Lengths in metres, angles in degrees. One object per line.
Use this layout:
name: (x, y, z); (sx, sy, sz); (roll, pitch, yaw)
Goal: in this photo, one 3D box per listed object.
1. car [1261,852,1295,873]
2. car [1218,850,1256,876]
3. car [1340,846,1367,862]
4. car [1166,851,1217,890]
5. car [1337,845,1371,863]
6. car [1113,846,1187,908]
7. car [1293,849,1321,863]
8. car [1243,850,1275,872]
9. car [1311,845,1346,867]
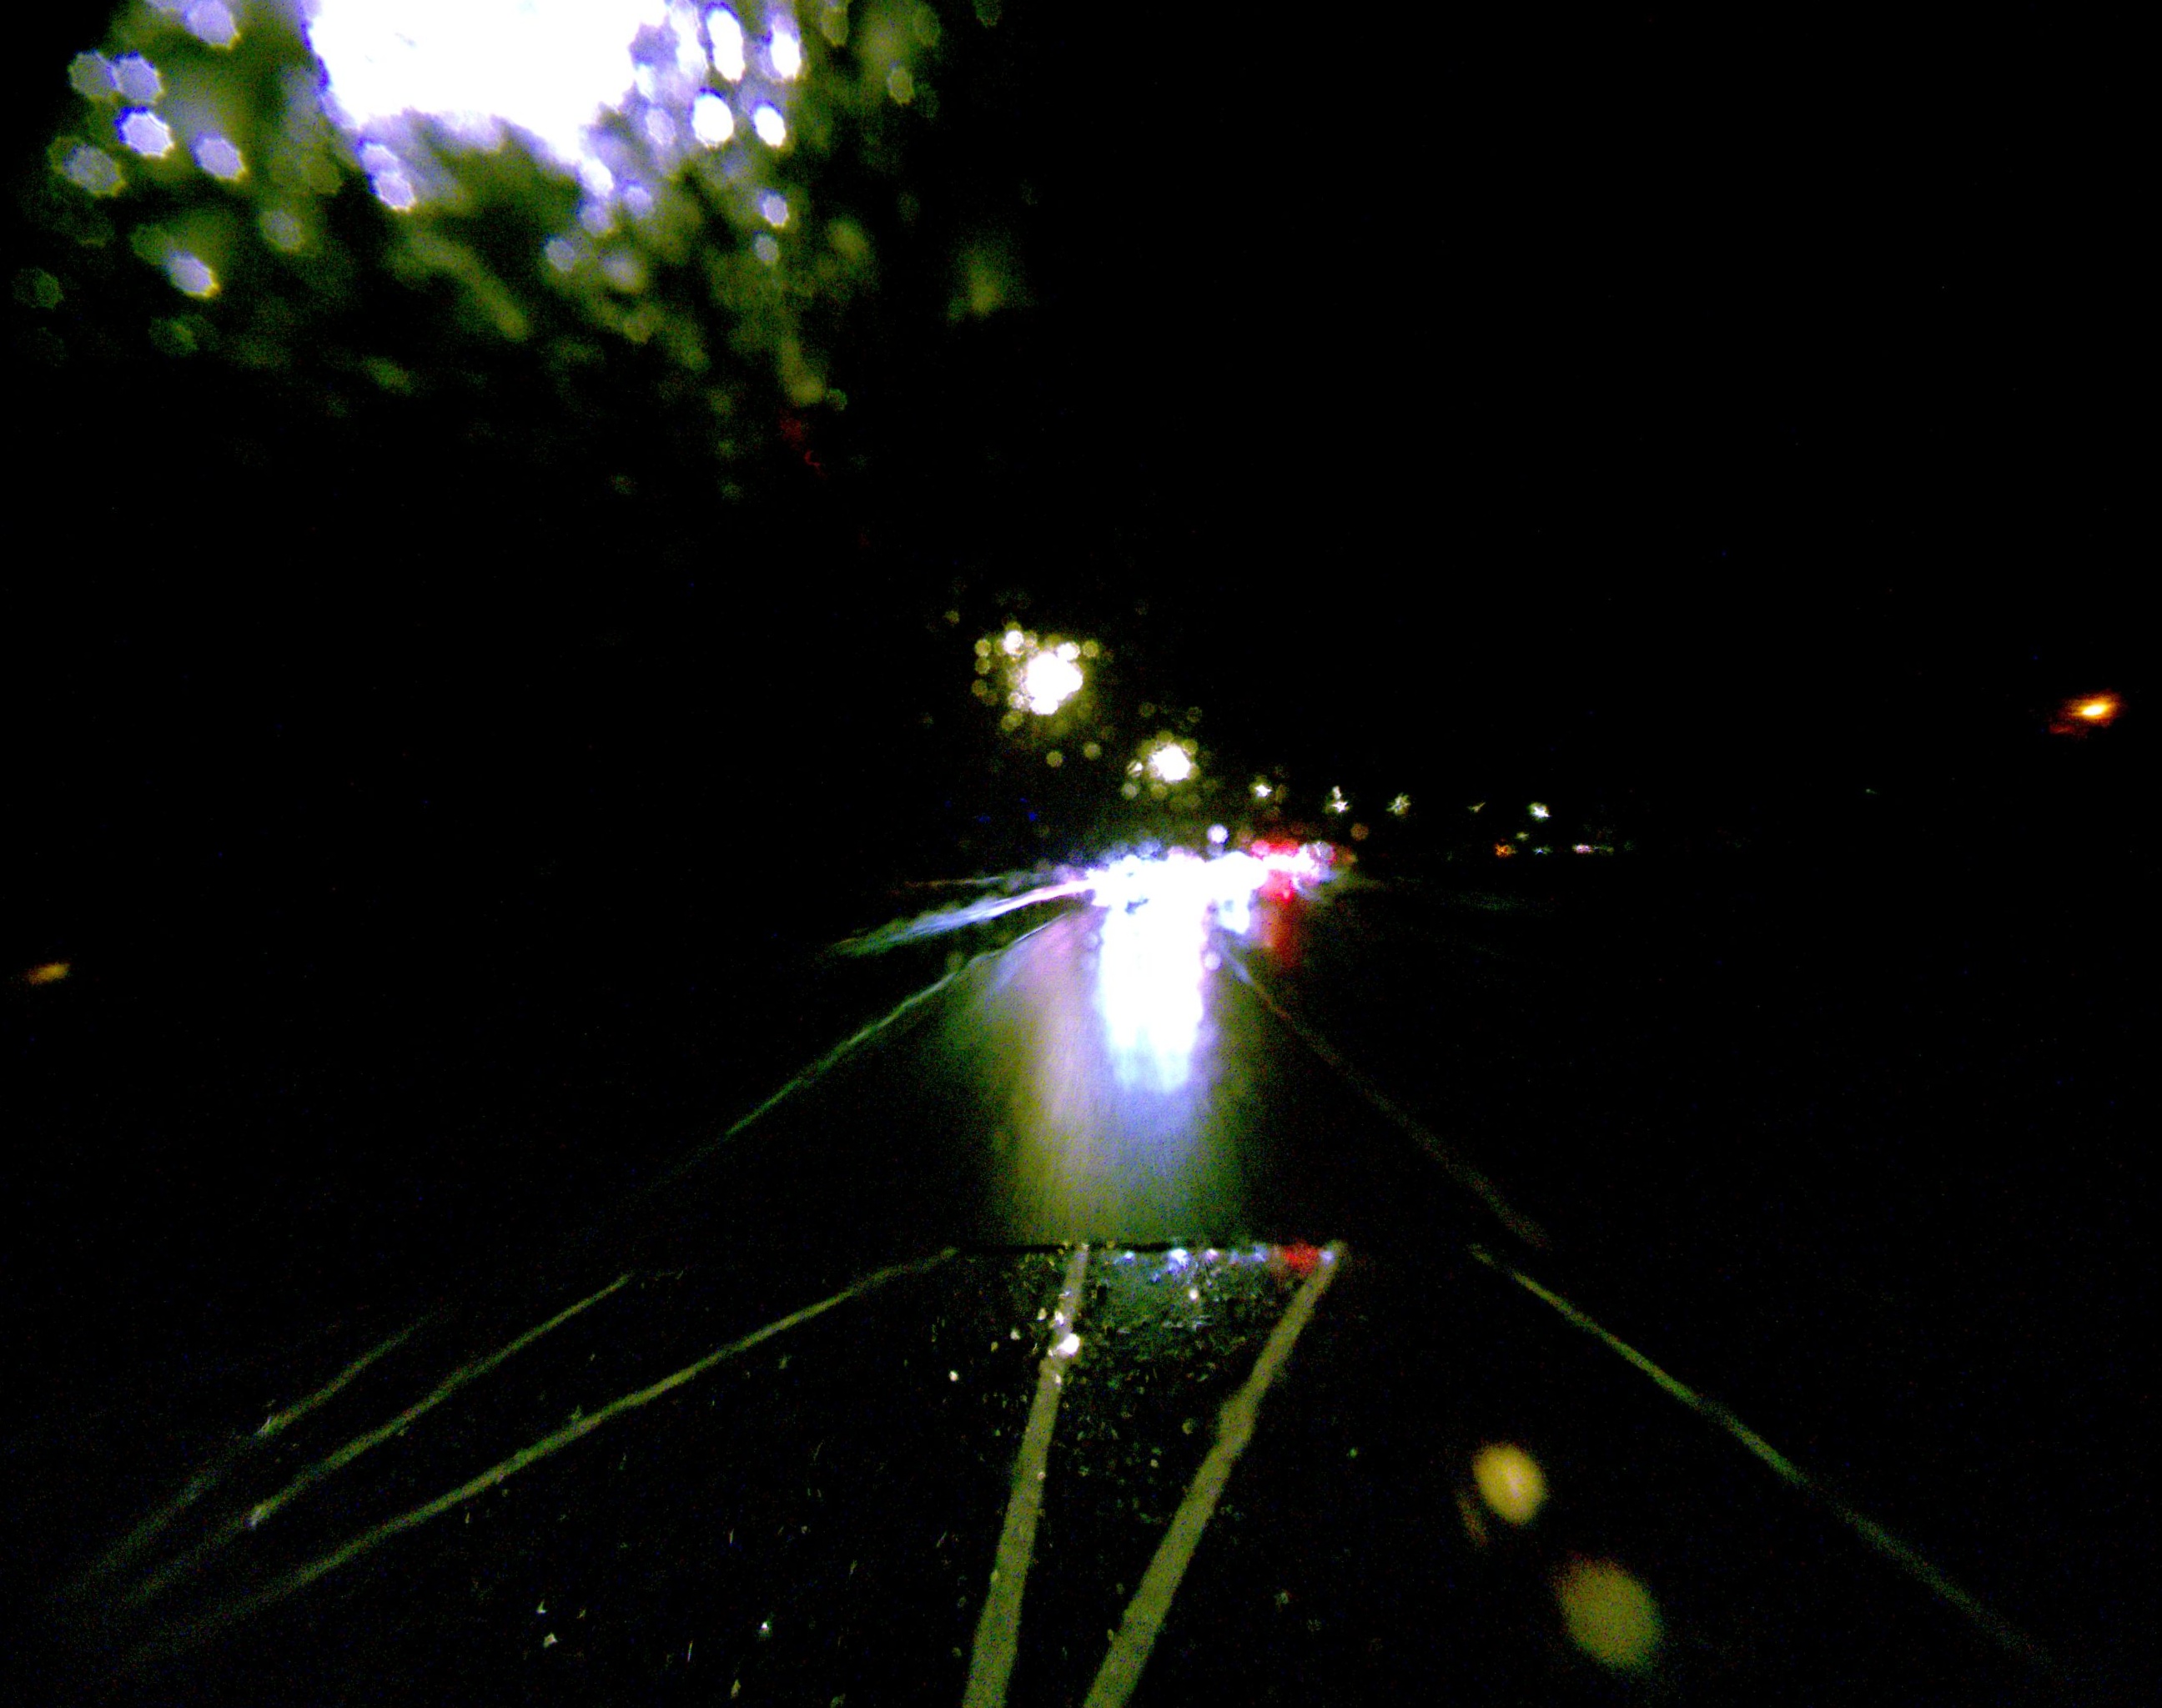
car: (14.459, 0.592, 55.621); (1.996, 1.475, 4.006); (-2, 0, 20)
car: (12.021, 0.684, 58.226); (1.995, 1.922, 4.007); (-2, 0, 24)
car: (33.024, -0.024, 92.067); (1.994, 1.922, 4.008); (-2, 0, 35)
car: (5.882, 0.819, 40.214); (1.996, 1.922, 4.005); (-2, 0, 18)
car: (30.766, -0.002, 85.418); (2.374, 1.924, 4.426); (-2, 0, 36)
car: (2.357, 0.713, 25.041); (1.935, 1.861, 4.004); (-2, 0, 12)
car: (24.827, 0.215, 83.407); (1.995, 1.475, 4.008); (-2, 0, 31)
car: (16.487, 0.628, 70.200); (1.995, 1.922, 4.007); (-2, 0, 26)
car: (24.498, 0.153, 75.143); (2.375, 2.079, 4.425); (-2, 0, 30)
